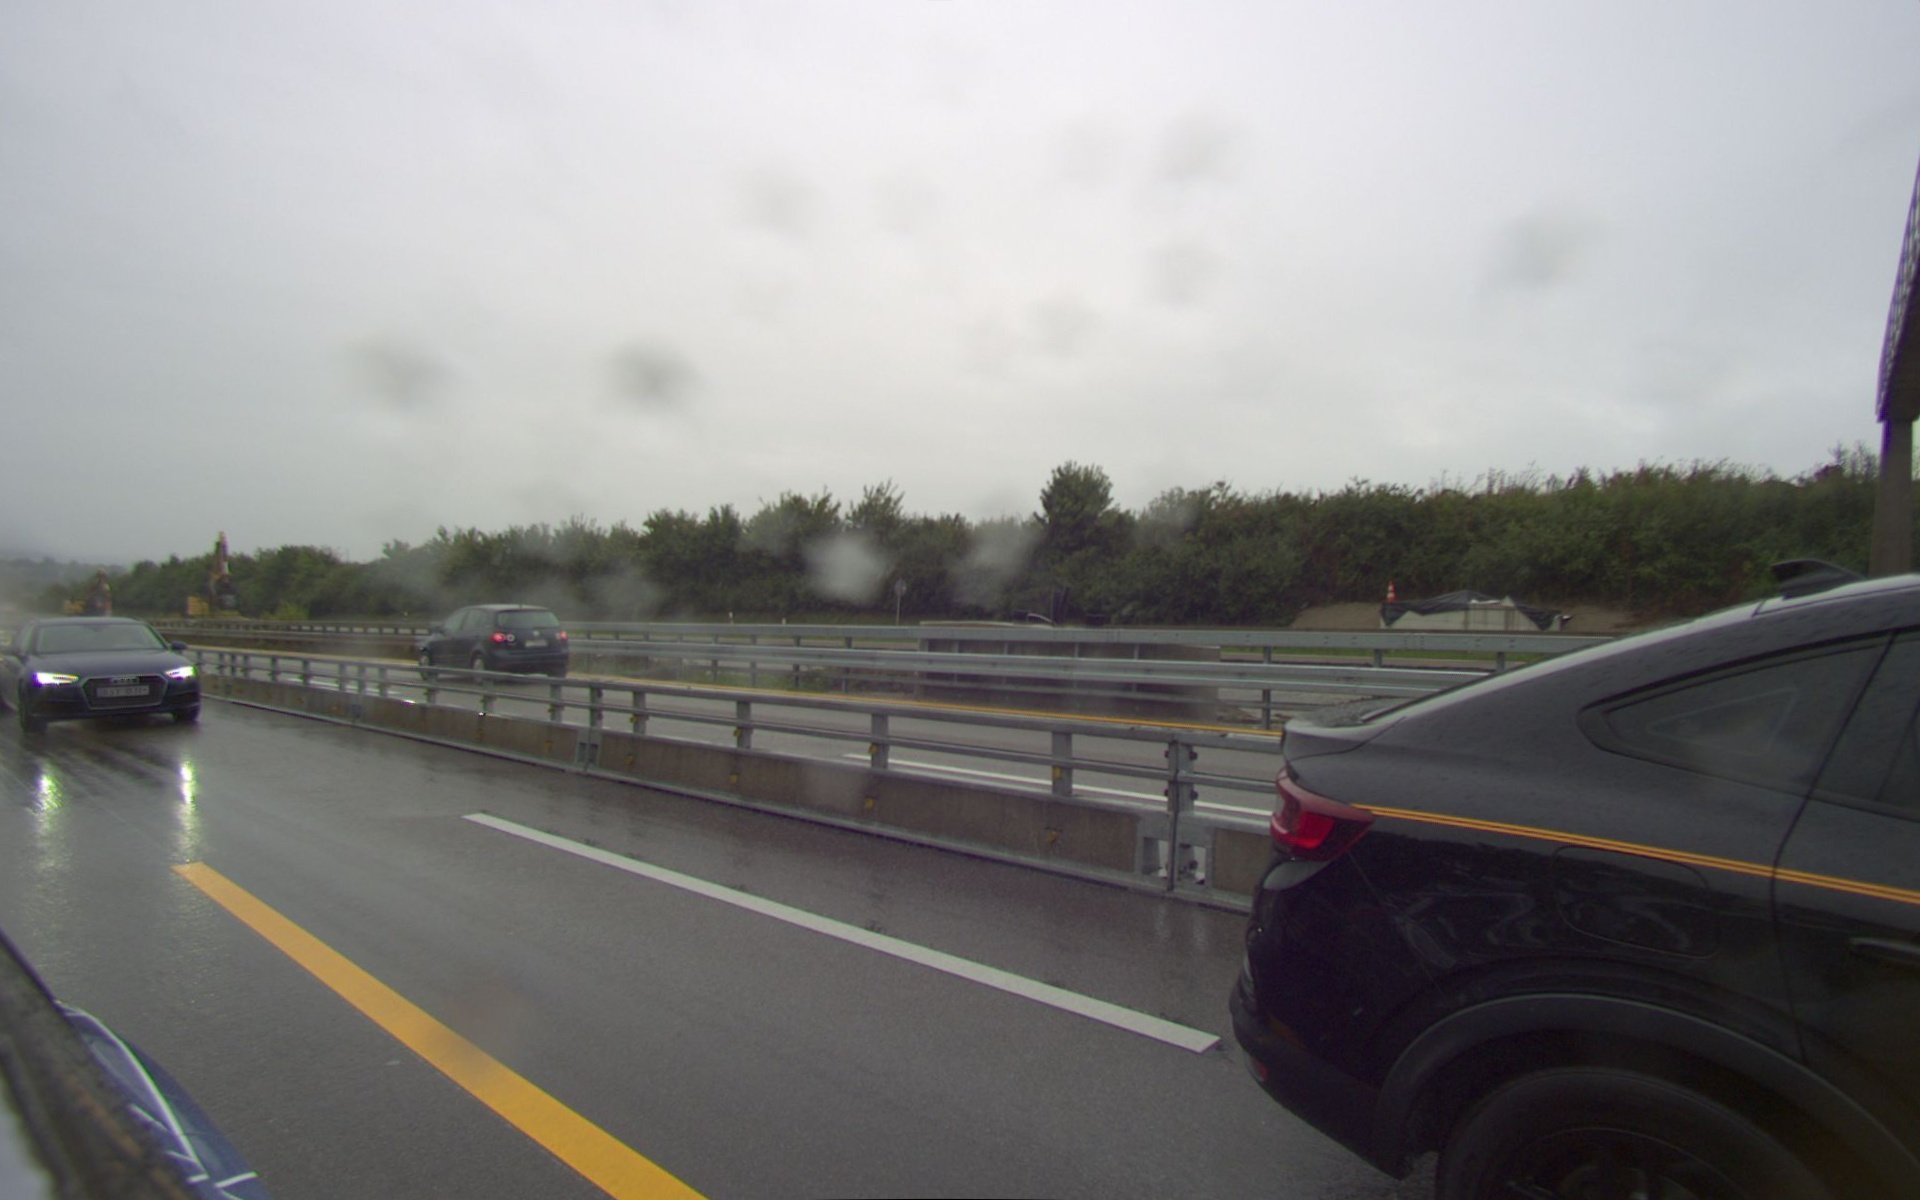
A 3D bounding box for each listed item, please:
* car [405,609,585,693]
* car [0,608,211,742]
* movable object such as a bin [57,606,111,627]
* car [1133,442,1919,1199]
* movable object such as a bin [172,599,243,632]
[{"bbox_3d":[-9.602,0.964,20.771,4.128,1.514,1.828,-1,0,41],"label":"car"},{"bbox_3d":[-11.999,0.881,13.914,4.631,1.509,1.971,-1,0,44],"label":"car"},{"bbox_3d":[-99.843,1.879,115.337,5.086,2.312,3.410,-1,0,33],"label":"movable object such as a bin"},{"bbox_3d":[2.671,0.566,1.464,4.413,1.597,1.972,-1,0,42],"label":"car"},{"bbox_3d":[-67.053,1.339,90.140,6.325,2.819,3.727,-1,0,40],"label":"movable object such as a bin"}]
